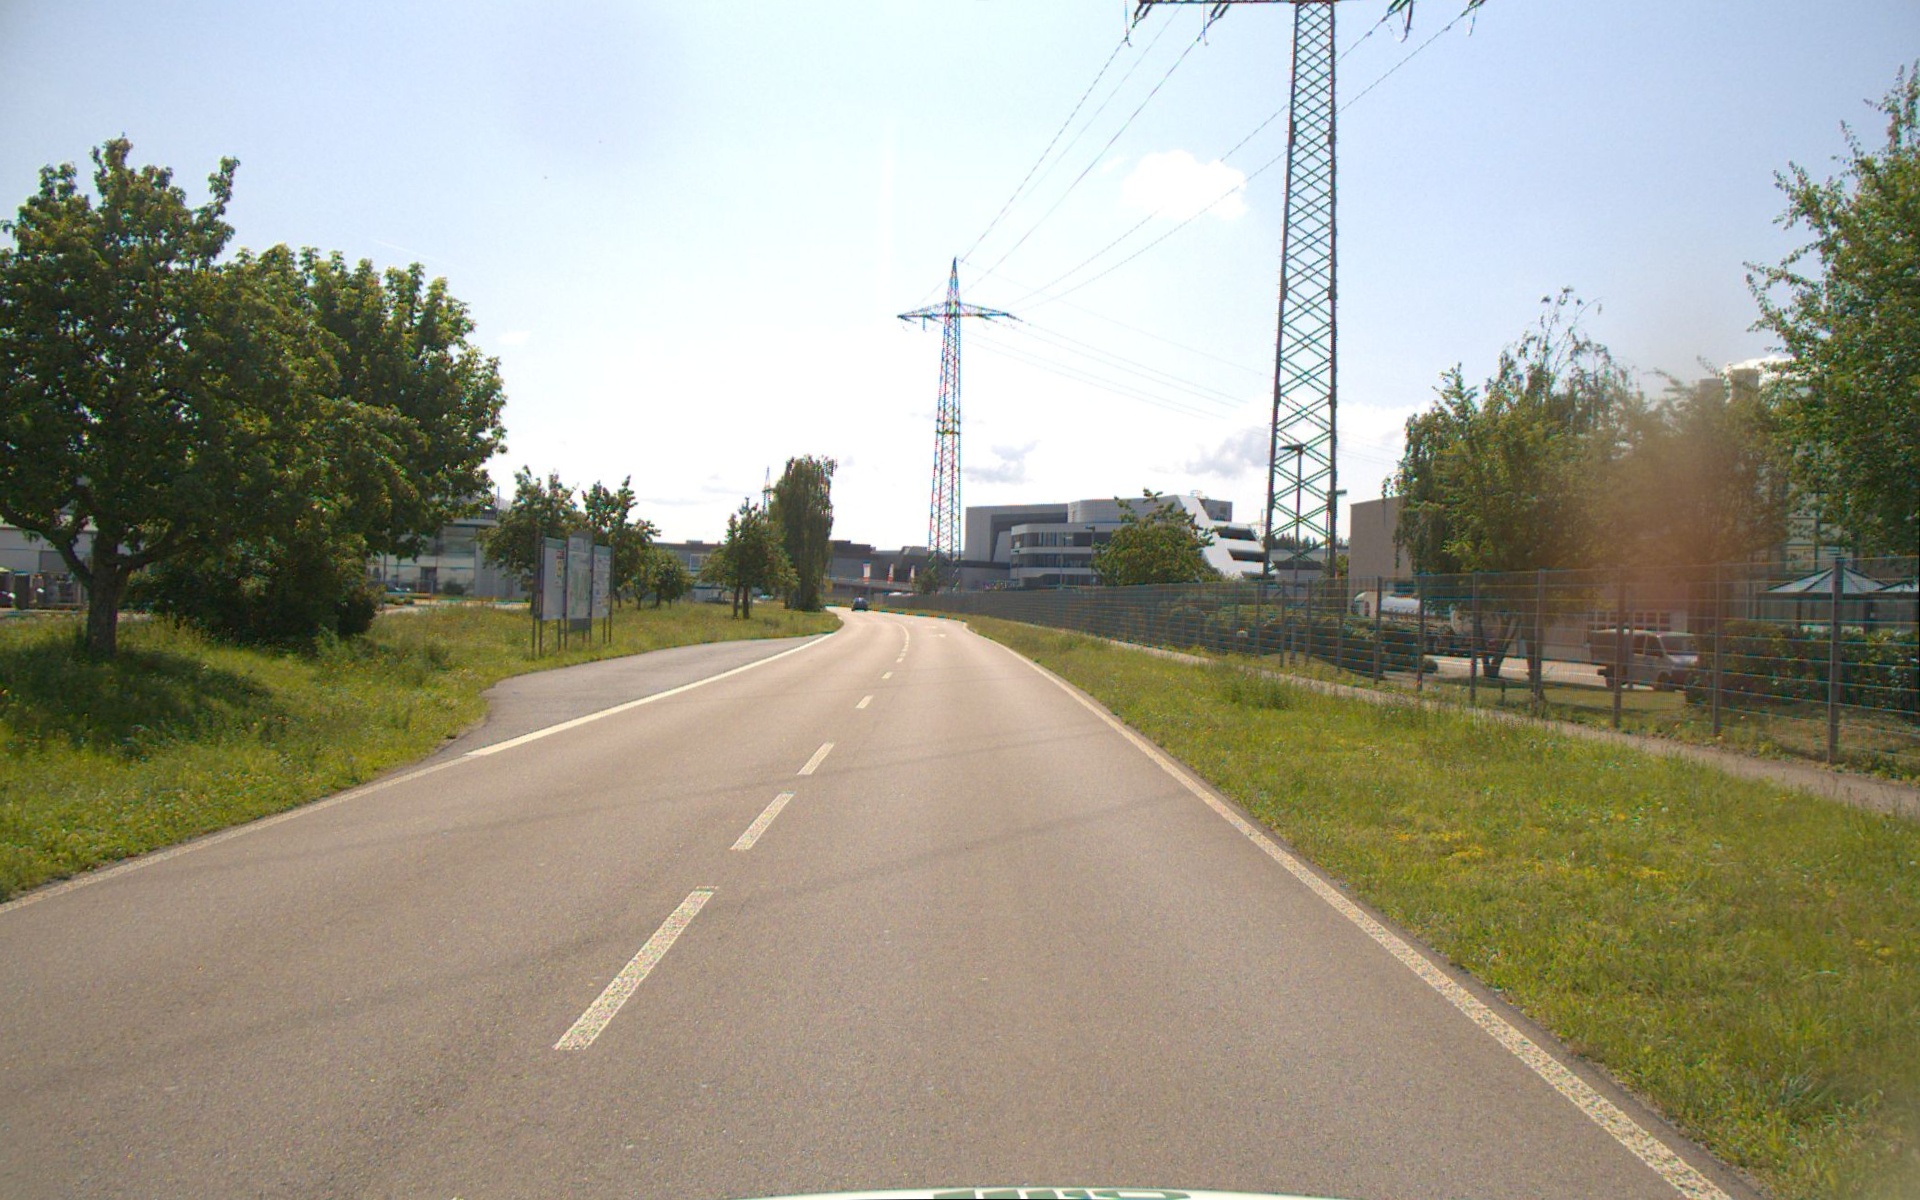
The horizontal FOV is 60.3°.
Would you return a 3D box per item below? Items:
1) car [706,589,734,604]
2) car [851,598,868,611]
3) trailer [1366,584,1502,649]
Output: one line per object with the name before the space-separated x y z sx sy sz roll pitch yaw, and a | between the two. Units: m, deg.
car | -34.451 -0.533 237.615 3.914 1.601 1.995 6 -4 -9
car | -12.085 0.523 199.359 1.972 1.534 3.997 1 0 -4
trailer | 29.274 0.944 102.927 3.523 3.801 12.217 1 0 -8
